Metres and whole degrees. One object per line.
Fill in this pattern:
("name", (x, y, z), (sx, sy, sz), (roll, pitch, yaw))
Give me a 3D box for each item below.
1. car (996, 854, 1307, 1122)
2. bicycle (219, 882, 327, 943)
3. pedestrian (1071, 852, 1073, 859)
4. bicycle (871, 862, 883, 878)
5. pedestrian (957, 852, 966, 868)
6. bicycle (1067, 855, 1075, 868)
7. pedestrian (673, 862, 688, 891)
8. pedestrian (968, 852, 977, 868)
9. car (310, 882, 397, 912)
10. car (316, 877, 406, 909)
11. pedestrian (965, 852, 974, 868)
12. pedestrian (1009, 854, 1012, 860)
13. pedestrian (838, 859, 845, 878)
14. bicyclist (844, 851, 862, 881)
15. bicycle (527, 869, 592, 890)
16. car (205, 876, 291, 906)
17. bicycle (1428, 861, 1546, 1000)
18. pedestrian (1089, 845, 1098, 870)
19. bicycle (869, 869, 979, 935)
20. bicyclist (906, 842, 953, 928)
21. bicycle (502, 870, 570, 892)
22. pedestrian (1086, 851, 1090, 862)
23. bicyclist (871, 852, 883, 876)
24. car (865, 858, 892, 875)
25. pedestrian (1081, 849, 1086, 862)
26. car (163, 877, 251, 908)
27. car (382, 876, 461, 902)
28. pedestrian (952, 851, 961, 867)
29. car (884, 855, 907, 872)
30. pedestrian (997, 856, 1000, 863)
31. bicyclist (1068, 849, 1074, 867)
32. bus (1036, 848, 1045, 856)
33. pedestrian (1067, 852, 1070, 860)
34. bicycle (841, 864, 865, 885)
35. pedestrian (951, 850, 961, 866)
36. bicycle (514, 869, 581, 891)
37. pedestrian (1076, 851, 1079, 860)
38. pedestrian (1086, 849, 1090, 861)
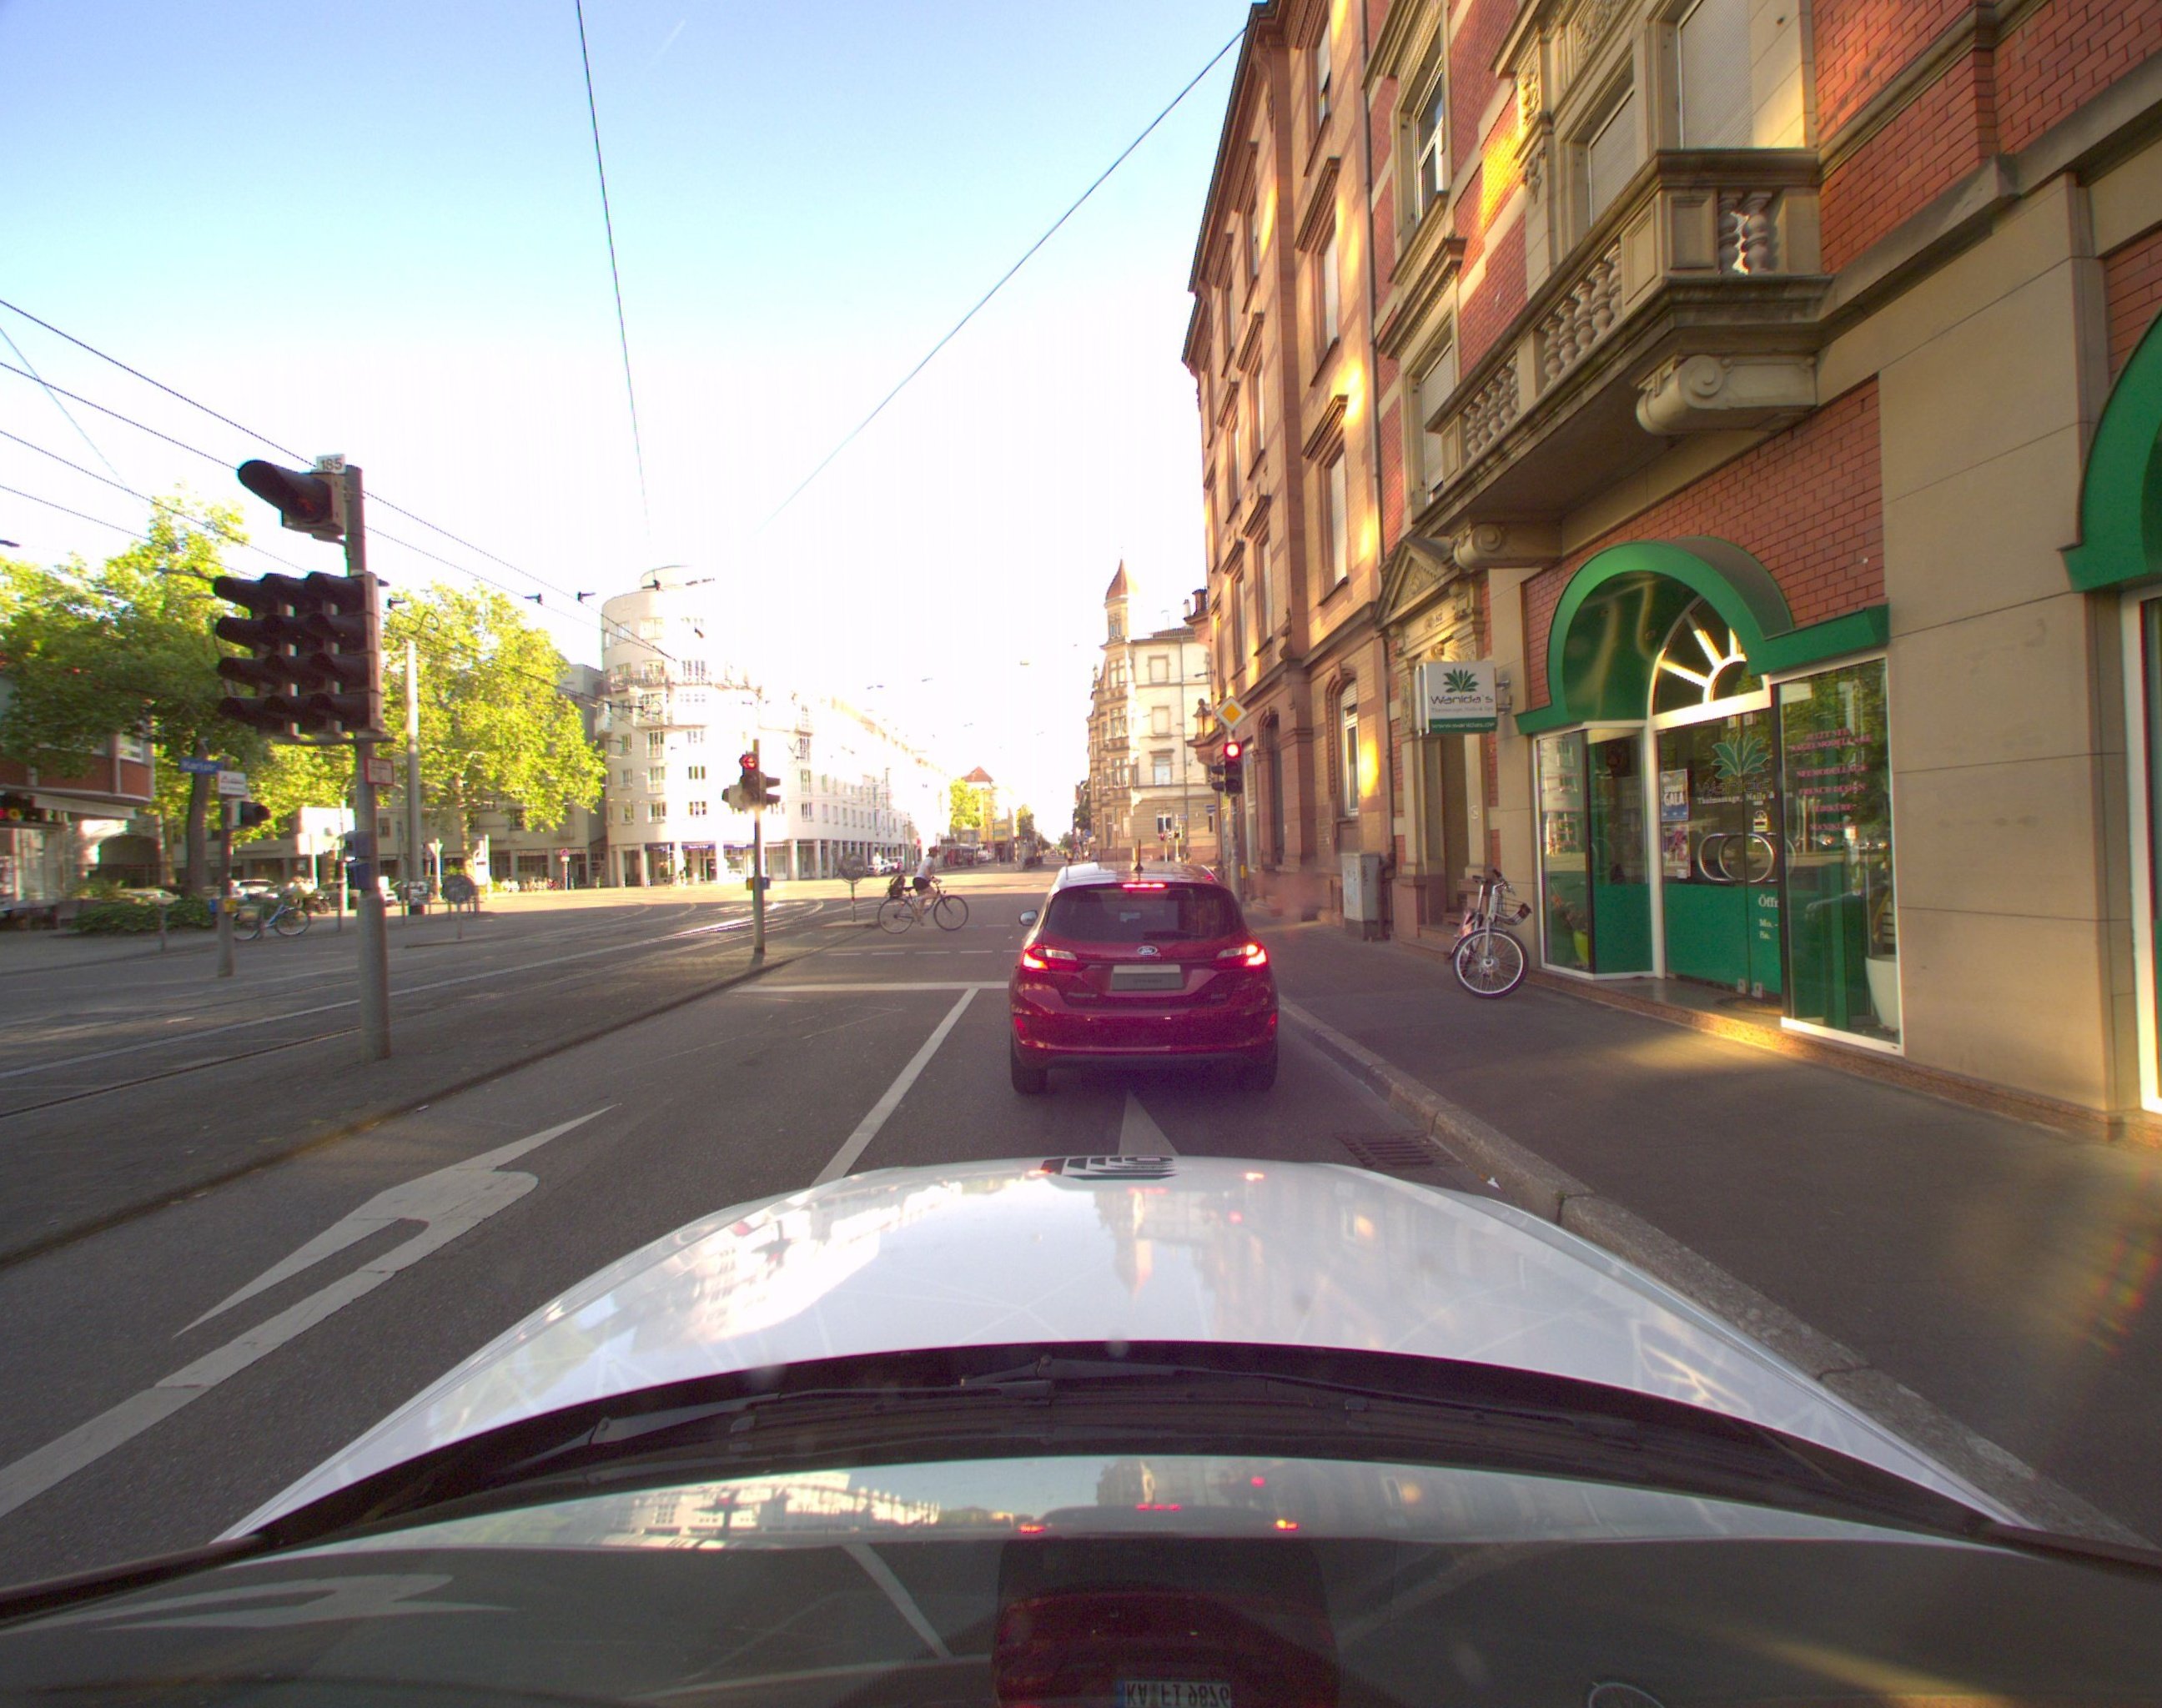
("car", (0.320, 0.747, 6.548), (1.750, 1.466, 3.941), (-1, 0, -3))
("bicycle", (-19.737, 1.400, 19.954), (0.668, 1.327, 1.907), (1, 0, 2))
("pedestrian", (-2.212, 0.369, 201.350), (0.575, 1.887, 0.630), (-2, 0, -1))
("bicycle", (-15.567, 1.212, 62.149), (0.809, 1.147, 1.999), (-2, 0, -16))
("pedestrian", (-15.508, 0.747, 105.893), (1.043, 2.013, 0.958), (-2, 0, -3))
("bicycle", (-0.918, 0.692, 75.725), (0.524, 1.089, 1.488), (-2, 0, 4))
("pedestrian", (-29.574, 1.653, 60.119), (0.949, 2.013, 0.931), (-2, 0, -29))
("pedestrian", (-14.179, 0.733, 106.490), (1.043, 2.013, 0.958), (-2, 0, -3))
("car", (-36.899, 2.181, 41.299), (3.968, 1.295, 1.781), (-2, 0, 24))
("car", (-40.220, 2.150, 45.533), (3.978, 1.559, 1.636), (-2, 0, 11))
("pedestrian", (-14.167, 0.754, 103.568), (1.043, 2.013, 0.958), (-2, 0, -3))
("pedestrian", (-17.047, 0.705, 197.870), (0.630, 1.604, 0.575), (-2, 0, -18))
("pedestrian", (-21.791, 1.333, 74.073), (0.524, 1.681, 0.484), (-2, 0, -8))
("bicyclist", (-13.493, 0.707, 48.224), (0.805, 1.726, 0.794), (-2, 0, -1))
("bicycle", (-42.836, 2.100, 66.917), (4.685, 1.530, 1.067), (-2, 0, 2))
("car", (-60.377, 2.640, 59.105), (1.986, 1.964, 4.001), (-2, 0, 1))
("bicycle", (3.883, 0.683, 7.921), (0.710, 1.152, 1.662), (-4, 0, 17))
("pedestrian", (1.046, 0.302, 67.907), (0.649, 2.013, 0.759), (-2, 0, -2))
("bicycle", (-3.067, 0.915, 16.001), (2.029, 1.177, 0.623), (-1, 0, -27))
("bicyclist", (-2.991, 0.589, 16.048), (0.733, 1.627, 0.759), (-1, 0, -26))
("bicycle", (-42.978, 2.109, 64.235), (4.685, 1.530, 1.067), (-2, 0, 2))
("pedestrian", (1.035, 0.350, 117.902), (0.412, 1.680, 0.485), (-2, 0, 1))
("bicyclist", (-15.556, 0.746, 62.022), (0.809, 1.821, 0.988), (-2, 0, -16))
("car", (-20.126, 1.250, 80.953), (1.760, 1.546, 3.460), (-2, 0, 0))
("pedestrian", (0.381, 0.223, 131.907), (0.574, 2.013, 0.632), (-2, 0, 5))
("car", (-63.296, 2.731, 59.089), (1.986, 1.964, 4.001), (-2, 0, 1))
("car", (-44.145, 2.356, 54.530), (3.969, 1.531, 1.618), (-2, 0, 4))
("pedestrian", (-15.556, 0.590, 101.626), (0.953, 2.013, 1.048), (-2, 0, -1))
("car", (-20.178, 1.053, 88.529), (1.696, 1.718, 3.562), (-2, 0, -1))
("pedestrian", (-16.788, 1.117, 165.861), (0.522, 1.488, 0.583), (-2, 0, 1))
("bicyclist", (-0.943, 0.394, 75.557), (0.497, 1.676, 0.545), (-2, 0, 3))
("bus", (-10.760, -0.485, 217.836), (1.919, 2.013, 7.137), (-2, 0, 1))
("pedestrian", (-3.193, 0.458, 205.267), (0.575, 1.887, 0.669), (-2, 0, -1))
("bicycle", (-13.473, 1.210, 48.161), (0.805, 1.147, 2.048), (-2, 0, -1))
("pedestrian", (-15.843, 0.474, 103.293), (1.043, 2.013, 0.958), (-2, 0, -3))
("bicycle", (-42.816, 2.090, 65.372), (4.685, 1.530, 1.067), (-2, 0, 2))
("pedestrian", (-0.773, 0.279, 175.641), (0.575, 2.013, 0.630), (-2, 0, 0))
("pedestrian", (1.159, 0.209, 135.243), (0.574, 2.013, 0.632), (-2, 0, 5))
